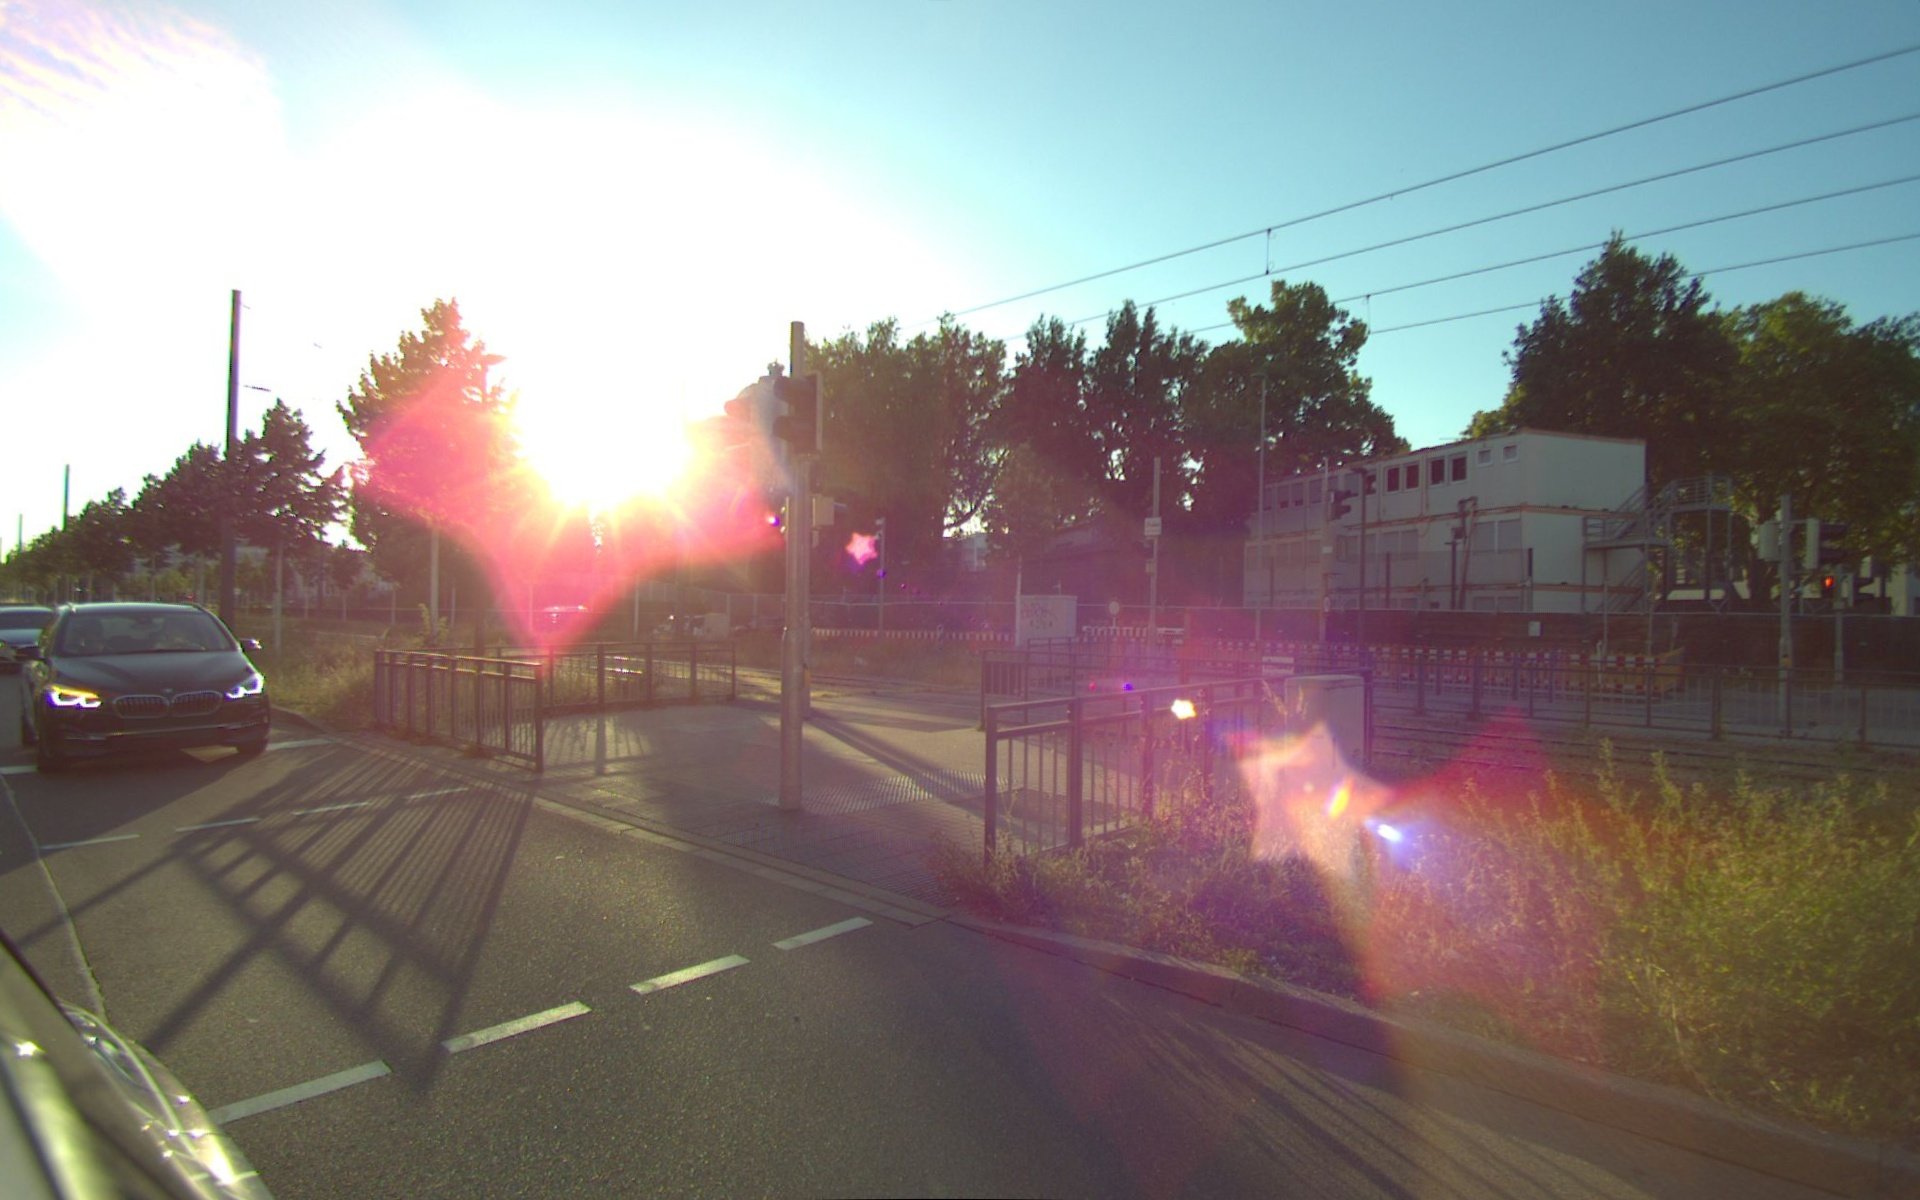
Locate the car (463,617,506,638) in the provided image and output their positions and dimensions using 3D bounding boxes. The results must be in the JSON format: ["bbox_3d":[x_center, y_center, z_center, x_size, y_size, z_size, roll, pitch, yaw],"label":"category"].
[{"bbox_3d":[-33.404,1.915,71.032,3.568,1.349,1.589,-1,0,45],"label":"car"}]

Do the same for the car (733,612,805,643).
[{"bbox_3d":[-9.173,1.291,48.386,1.672,1.380,3.698,-1,0,-43],"label":"car"}]

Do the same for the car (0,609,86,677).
[{"bbox_3d":[-22.321,0.961,24.195,4.304,1.475,1.807,-1,0,44],"label":"car"}]

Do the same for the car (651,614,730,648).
[{"bbox_3d":[-11.844,1.343,44.381,1.746,1.380,3.720,-1,0,-45],"label":"car"}]

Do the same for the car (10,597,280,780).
[{"bbox_3d":[-8.883,0.754,10.853,1.800,1.530,4.794,0,0,-45],"label":"car"}]

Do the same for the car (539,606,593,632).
[{"bbox_3d":[-25.081,1.203,64.392,3.802,1.572,1.823,-1,0,45],"label":"car"}]
